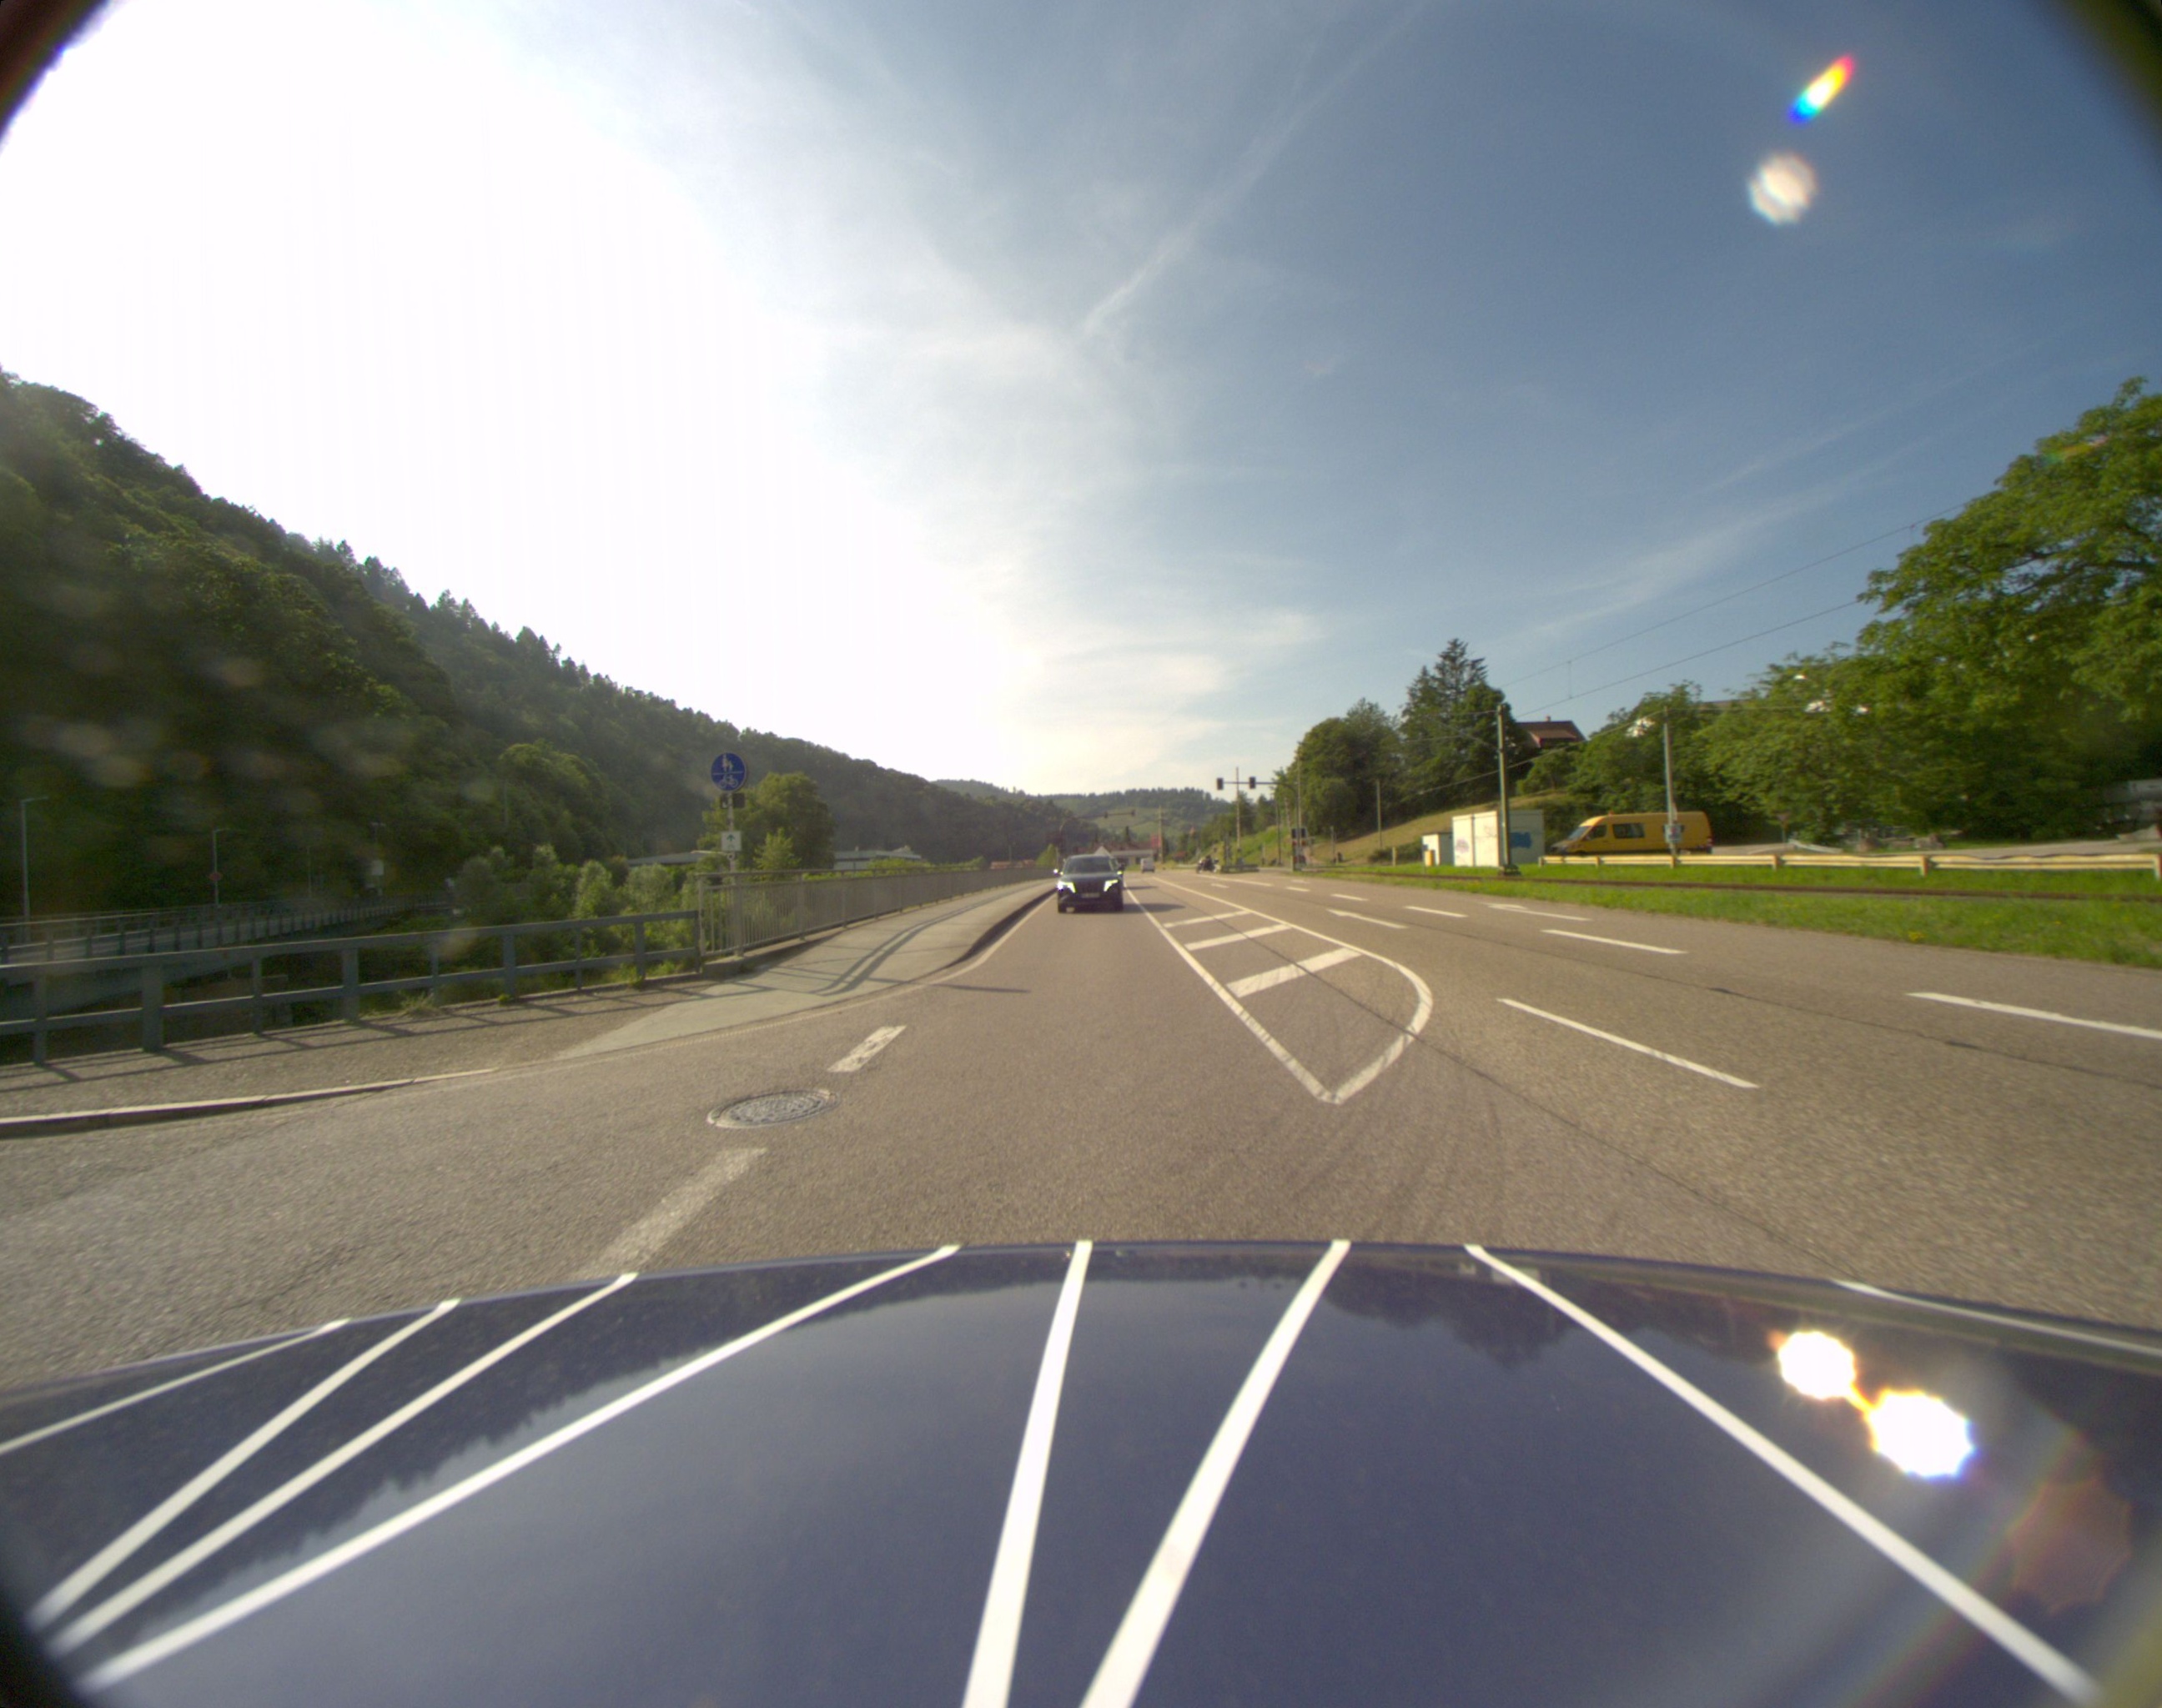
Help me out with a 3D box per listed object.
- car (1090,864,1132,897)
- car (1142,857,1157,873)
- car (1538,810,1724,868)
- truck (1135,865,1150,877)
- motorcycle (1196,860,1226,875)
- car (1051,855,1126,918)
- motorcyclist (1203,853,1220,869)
[{"bbox_3d":[1.479,1.304,38.770,1.919,1.455,4.000,-3,0,0],"label":"car"},{"bbox_3d":[10.930,1.795,121.614,2.124,2.422,5.229,-3,-1,3],"label":"car"},{"bbox_3d":[28.069,-0.731,39.147,7.076,2.442,2.951,-3,0,12],"label":"car"},{"bbox_3d":[12.319,3.333,152.990,2.453,2.252,6.280,-4,0,0],"label":"truck"},{"bbox_3d":[12.577,1.342,73.721,2.594,1.261,1.004,-4,0,-12],"label":"motorcycle"},{"bbox_3d":[0.276,0.913,23.225,1.998,1.660,5.512,-1,-1,2],"label":"car"},{"bbox_3d":[12.648,0.685,73.747,1.186,1.535,0.991,-4,0,-12],"label":"motorcyclist"}]
